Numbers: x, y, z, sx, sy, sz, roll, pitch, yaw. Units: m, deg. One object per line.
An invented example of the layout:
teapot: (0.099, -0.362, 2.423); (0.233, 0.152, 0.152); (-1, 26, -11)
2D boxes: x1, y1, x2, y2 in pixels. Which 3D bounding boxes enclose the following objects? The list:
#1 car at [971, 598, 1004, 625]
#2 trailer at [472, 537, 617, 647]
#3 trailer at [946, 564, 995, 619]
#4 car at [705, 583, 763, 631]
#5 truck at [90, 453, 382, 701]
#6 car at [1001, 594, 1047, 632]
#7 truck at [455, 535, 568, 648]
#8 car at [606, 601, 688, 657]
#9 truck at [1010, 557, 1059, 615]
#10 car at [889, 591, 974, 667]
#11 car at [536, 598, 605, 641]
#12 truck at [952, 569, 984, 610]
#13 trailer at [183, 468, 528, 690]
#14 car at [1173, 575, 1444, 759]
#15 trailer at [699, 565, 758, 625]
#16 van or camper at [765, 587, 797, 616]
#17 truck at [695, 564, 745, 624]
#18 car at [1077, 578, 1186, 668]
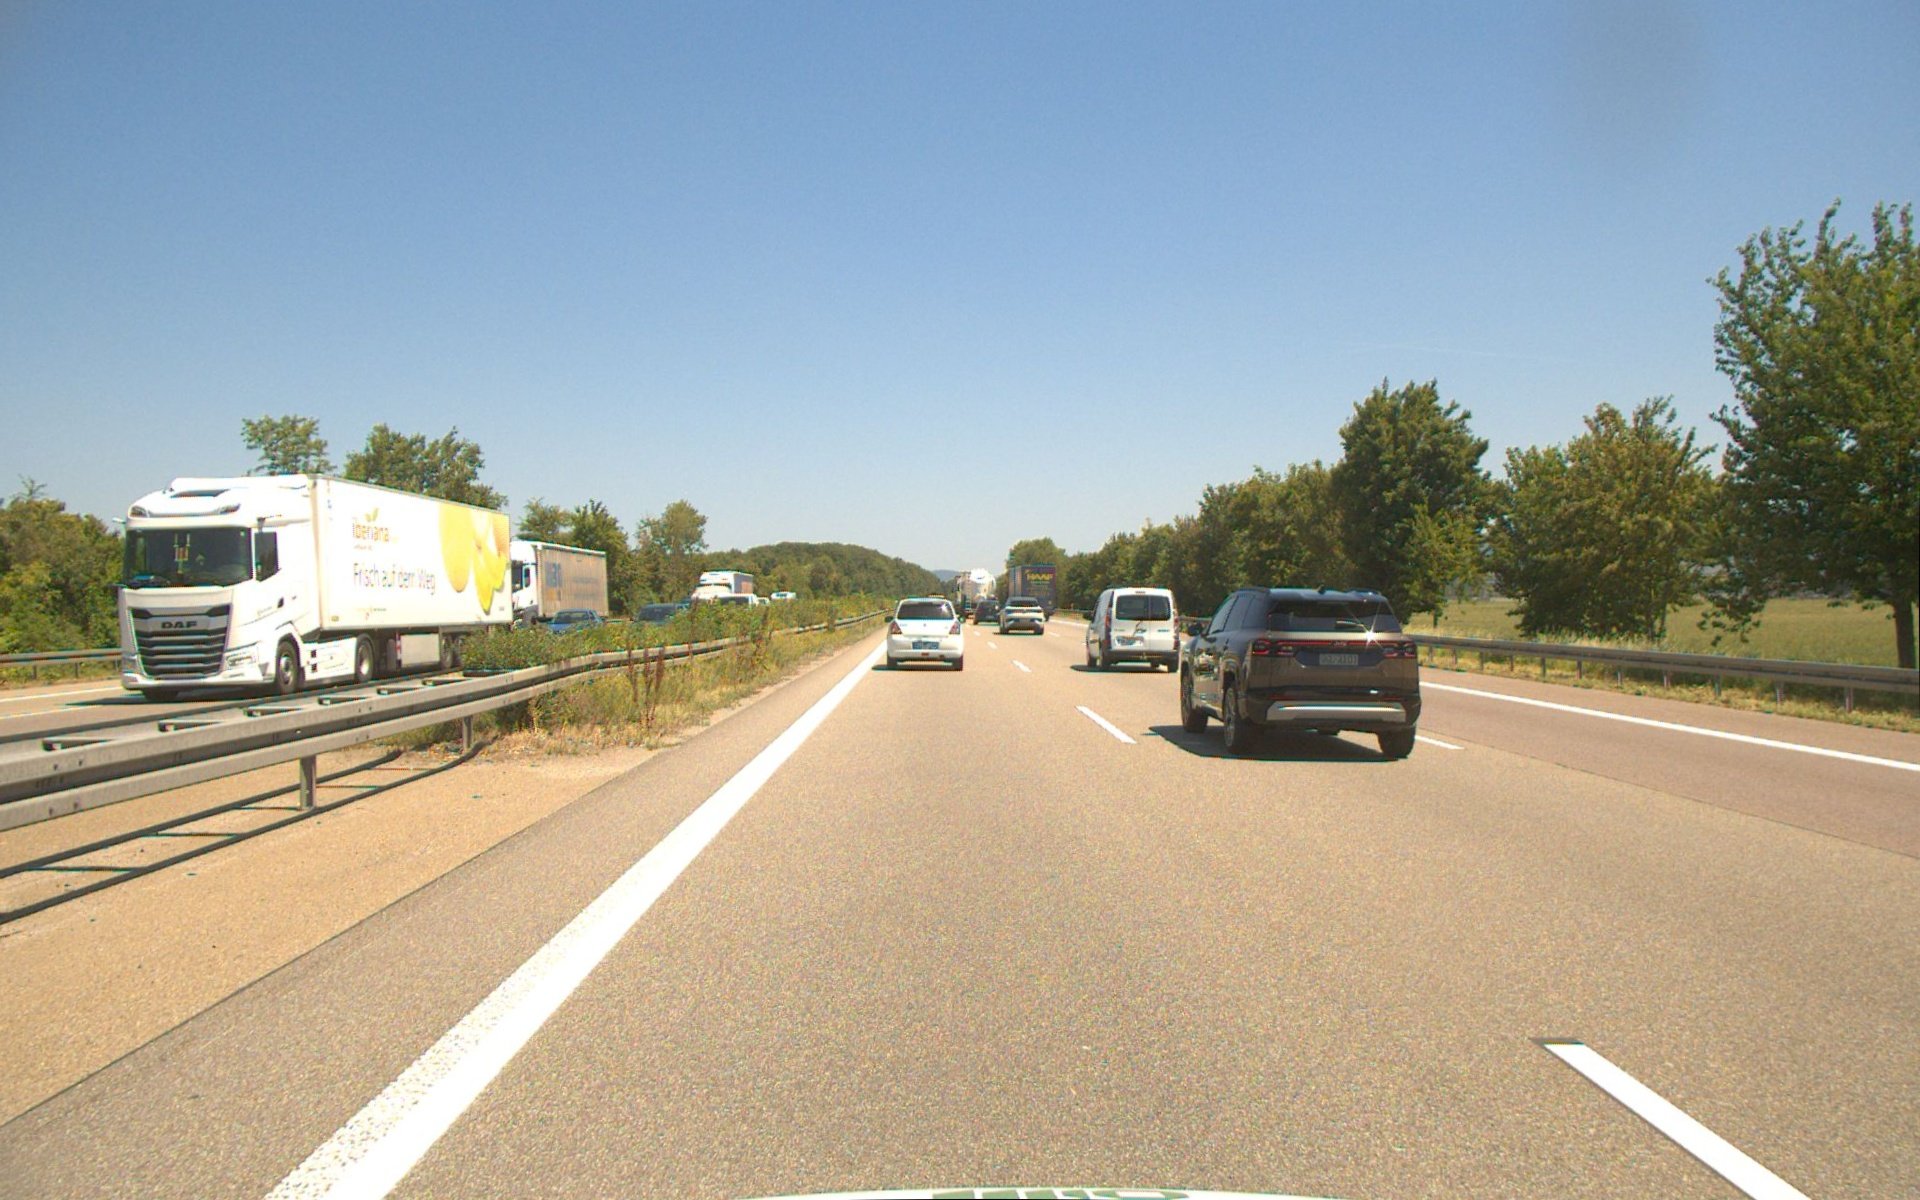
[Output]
car: (1.605, 0.684, 98.441); (1.813, 1.549, 3.956); (1, 0, -1)
trailer: (-17.780, -0.322, 71.960); (2.701, 4.174, 14.050); (-3, 0, -1)
trailer: (0.756, -0.634, 133.242); (2.854, 4.140, 12.407); (1, 0, -4)
car: (-10.068, 0.308, 74.089); (1.953, 2.066, 5.489); (1, 0, -1)
truck: (-13.484, -0.400, 31.436); (2.684, 4.156, 6.217); (-2, 0, 0)
car: (2.826, 0.560, 73.616); (1.766, 1.631, 4.380); (1, 0, -1)
truck: (-17.699, -0.324, 65.689); (2.701, 4.174, 6.151); (-3, 0, -1)
car: (-10.120, 0.897, 53.741); (1.920, 1.723, 4.800); (1, 0, -3)
truck: (5.693, -1.001, 128.537); (3.045, 4.211, 15.510); (1, 0, 0)
car: (-0.646, 0.614, 36.613); (1.763, 1.579, 3.609); (1, 0, -2)
car: (-13.769, 0.676, 58.634); (1.540, 1.410, 3.966); (-3, 0, -1)
truck: (0.822, -1.125, 180.160); (3.325, 4.287, 12.082); (1, 0, 0)
trailer: (-13.450, -0.408, 38.862); (2.684, 4.156, 14.346); (-2, 0, 0)
car: (3.600, 0.637, 17.987); (1.829, 1.704, 4.745); (1, 0, -1)
trailer: (-18.491, -0.261, 132.775); (2.917, 4.285, 13.731); (-2, -2, -1)
van or camper: (-19.963, 0.160, 184.726); (2.792, 3.021, 7.445); (-2, 0, -1)
truck: (-18.424, -0.413, 127.431); (2.945, 4.285, 6.309); (-2, -2, -1)
car: (3.829, 0.495, 37.673); (1.816, 1.895, 4.700); (1, 0, -2)
